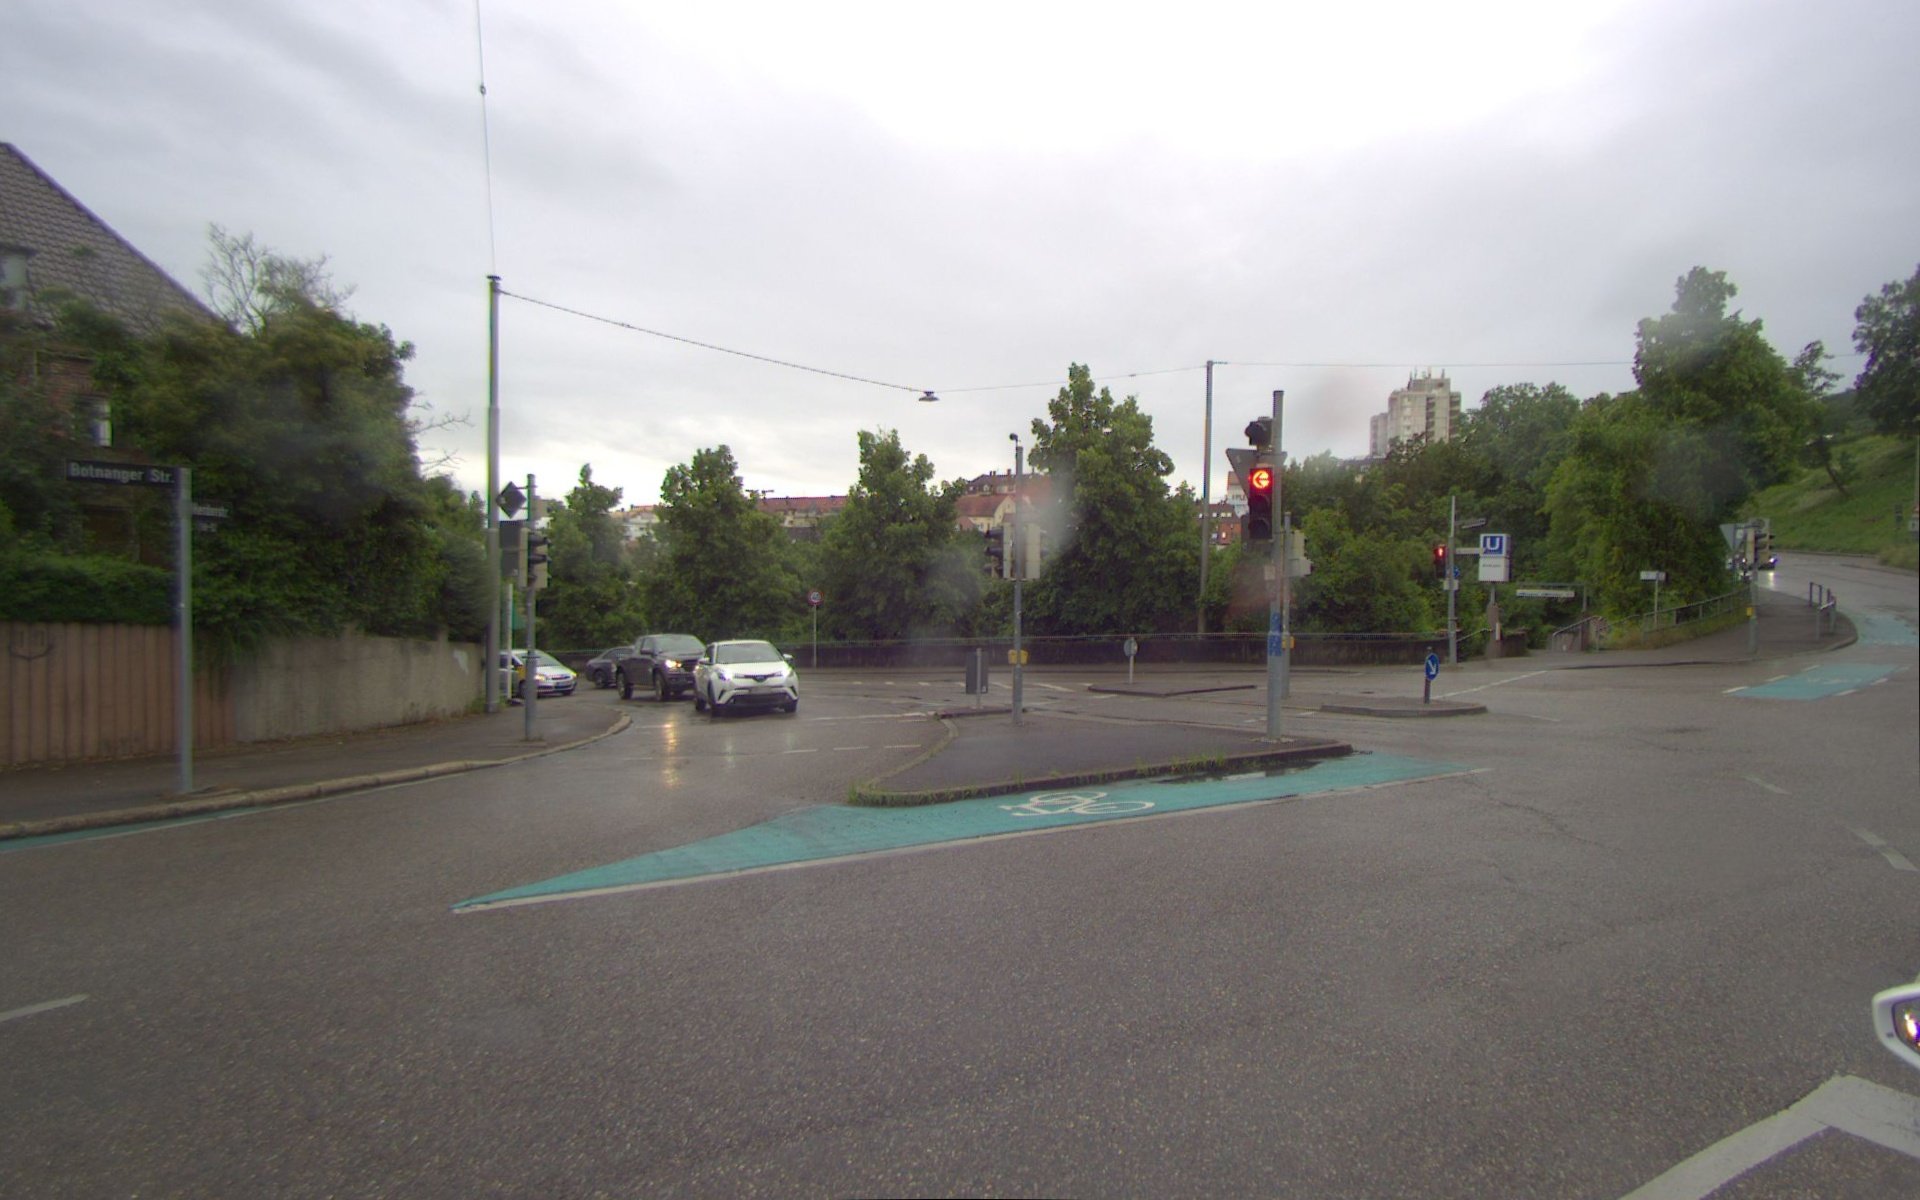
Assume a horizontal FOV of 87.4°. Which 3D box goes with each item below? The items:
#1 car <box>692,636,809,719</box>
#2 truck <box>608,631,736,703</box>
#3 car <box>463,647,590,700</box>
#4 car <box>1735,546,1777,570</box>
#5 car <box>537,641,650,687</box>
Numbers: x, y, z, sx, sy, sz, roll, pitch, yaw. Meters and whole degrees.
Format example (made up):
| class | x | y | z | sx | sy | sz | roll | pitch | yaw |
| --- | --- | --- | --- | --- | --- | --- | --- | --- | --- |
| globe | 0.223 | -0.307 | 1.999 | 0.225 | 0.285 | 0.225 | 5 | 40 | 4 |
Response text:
| class | x | y | z | sx | sy | sz | roll | pitch | yaw |
| --- | --- | --- | --- | --- | --- | --- | --- | --- | --- |
| car | -4.589 | 1.630 | 21.622 | 1.810 | 1.527 | 3.866 | -2 | -2 | -21 |
| truck | -8.331 | 1.937 | 28.770 | 1.890 | 1.809 | 4.940 | -2 | -3 | -36 |
| car | -14.877 | 2.486 | 34.437 | 4.238 | 1.653 | 1.853 | -2 | -1 | 31 |
| car | 54.787 | -2.893 | 69.201 | 1.930 | 1.532 | 4.389 | 1 | 3 | 34 |
| car | -13.762 | 2.402 | 37.603 | 4.421 | 1.527 | 1.972 | -3 | -1 | 39 |
